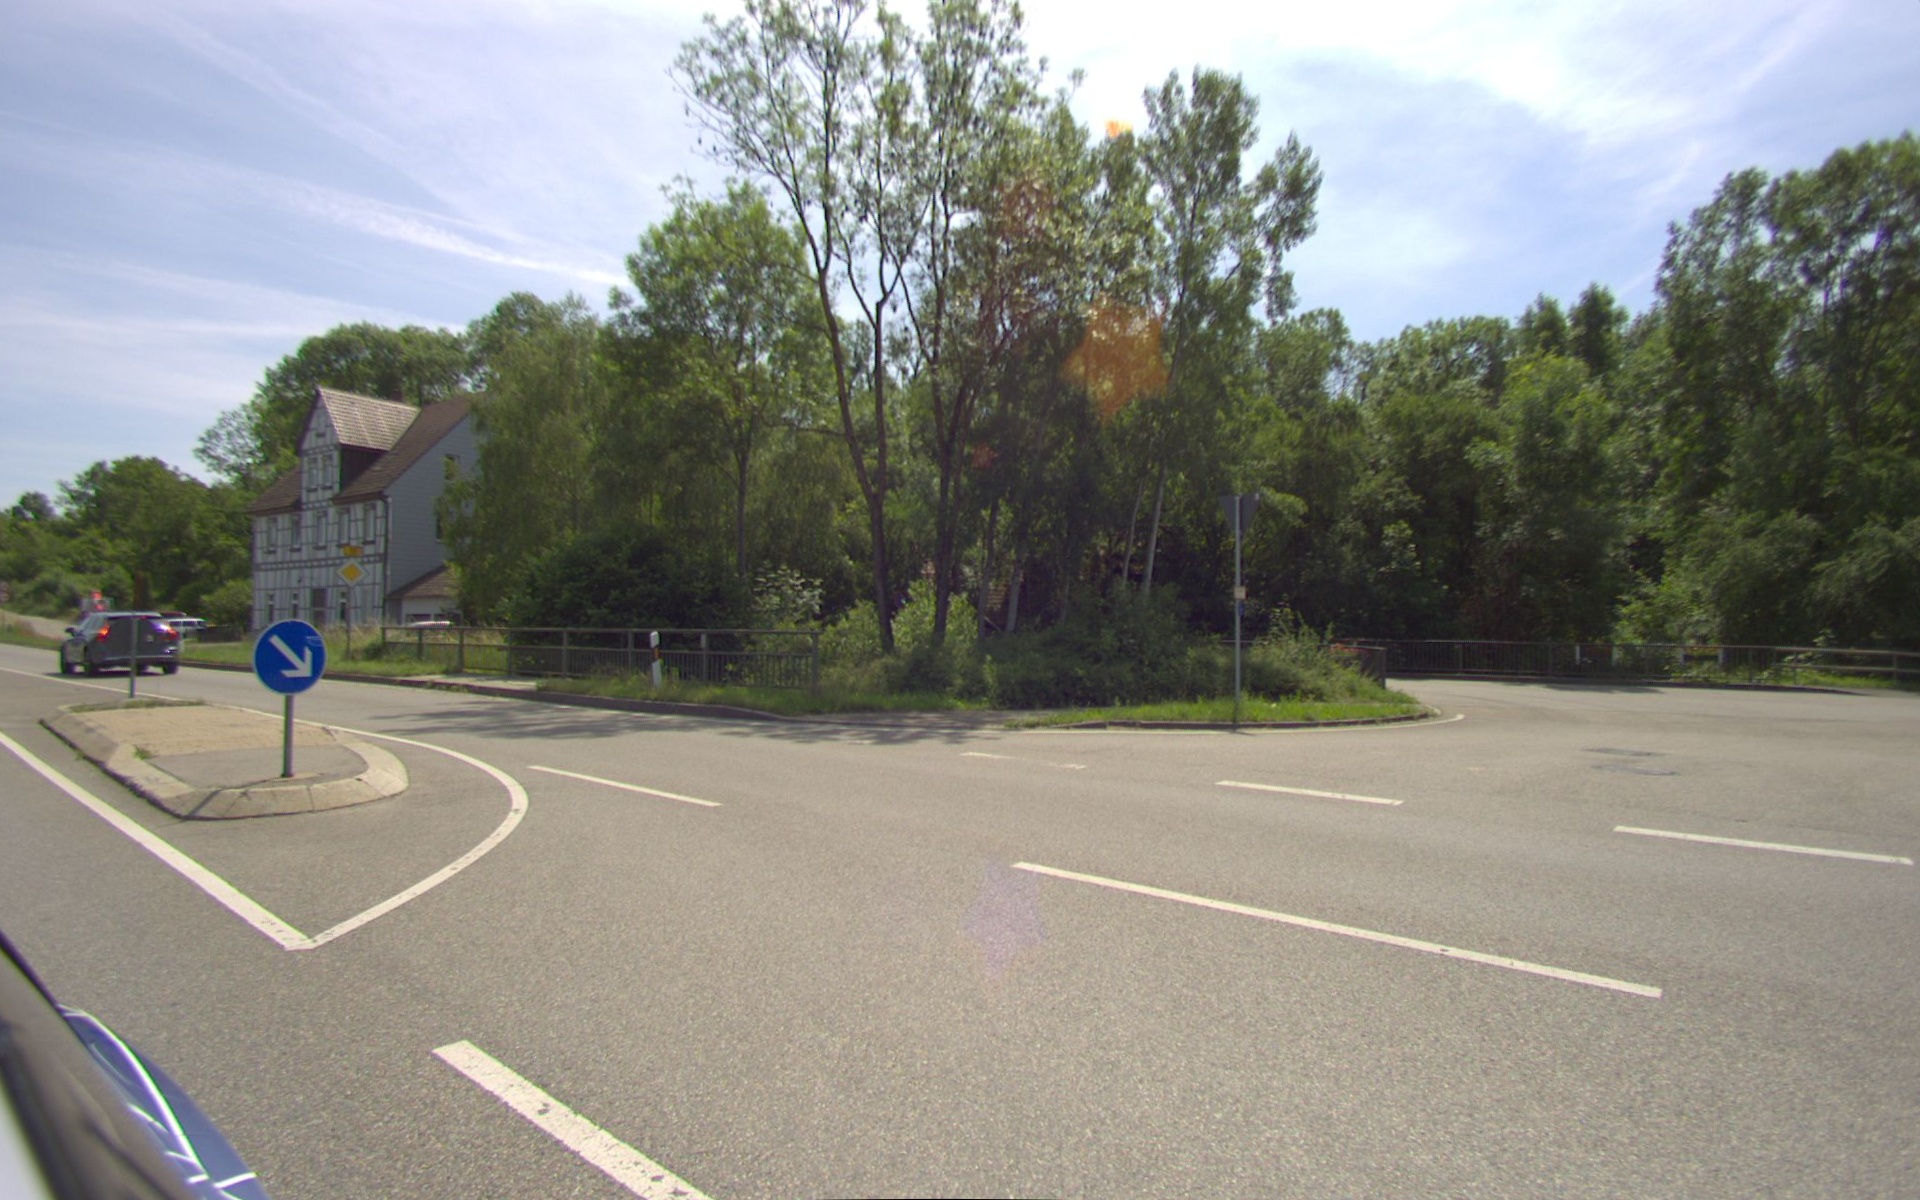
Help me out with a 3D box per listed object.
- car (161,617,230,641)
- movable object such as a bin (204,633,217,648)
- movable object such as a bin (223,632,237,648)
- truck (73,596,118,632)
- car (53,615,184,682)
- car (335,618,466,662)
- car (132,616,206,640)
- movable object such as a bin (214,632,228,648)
[{"bbox_3d":[-50.618,1.908,67.039,1.606,1.476,3.349,0,0,34],"label":"car"},{"bbox_3d":[-48.597,2.618,65.604,0.653,0.977,0.499,1,0,33],"label":"movable object such as a bin"},{"bbox_3d":[-47.946,2.633,66.482,0.653,0.984,0.499,1,0,33],"label":"movable object such as a bin"},{"bbox_3d":[-74.346,1.163,86.955,6.770,2.986,2.005,0,0,41],"label":"truck"},{"bbox_3d":[-22.628,1.249,27.165,4.428,1.667,1.928,-1,-2,40],"label":"car"},{"bbox_3d":[-24.141,1.698,43.798,1.858,1.733,4.621,-3,-2,36],"label":"car"},{"bbox_3d":[-57.862,2.025,74.062,1.832,1.631,3.985,0,0,41],"label":"car"},{"bbox_3d":[-48.224,2.623,66.025,0.653,0.978,0.499,1,0,33],"label":"movable object such as a bin"}]
